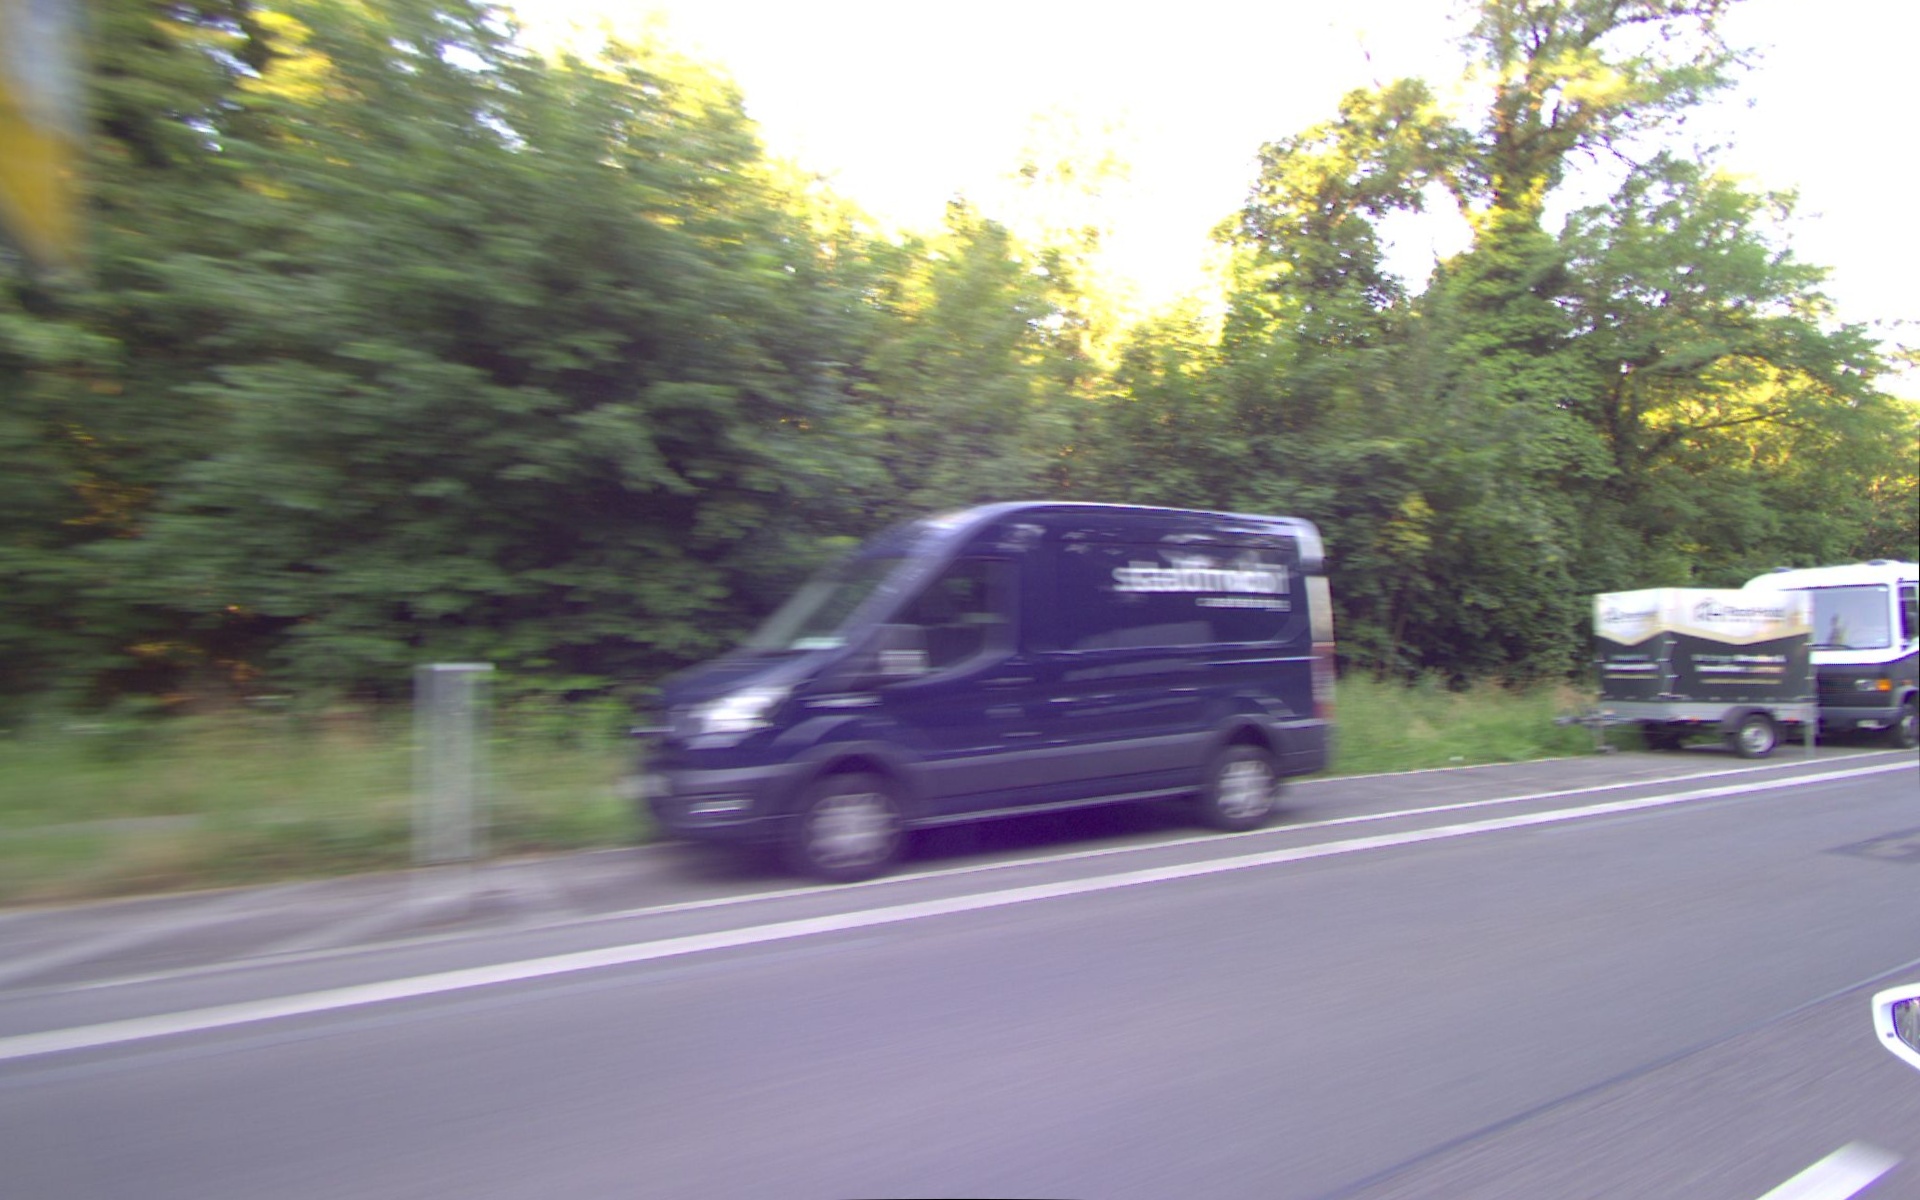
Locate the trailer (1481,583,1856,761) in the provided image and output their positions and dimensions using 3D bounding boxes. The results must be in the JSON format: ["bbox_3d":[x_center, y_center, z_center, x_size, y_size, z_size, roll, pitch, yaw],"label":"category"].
[{"bbox_3d":[9.457,0.933,13.587,3.858,2.183,1.966,1,-2,-9],"label":"trailer"}]

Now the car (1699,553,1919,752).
[{"bbox_3d":[14.398,0.790,15.945,5.654,2.682,2.239,1,-2,-30],"label":"car"}]

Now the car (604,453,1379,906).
[{"bbox_3d":[0.455,0.525,7.628,5.698,2.395,1.985,1,-3,-30],"label":"car"}]
